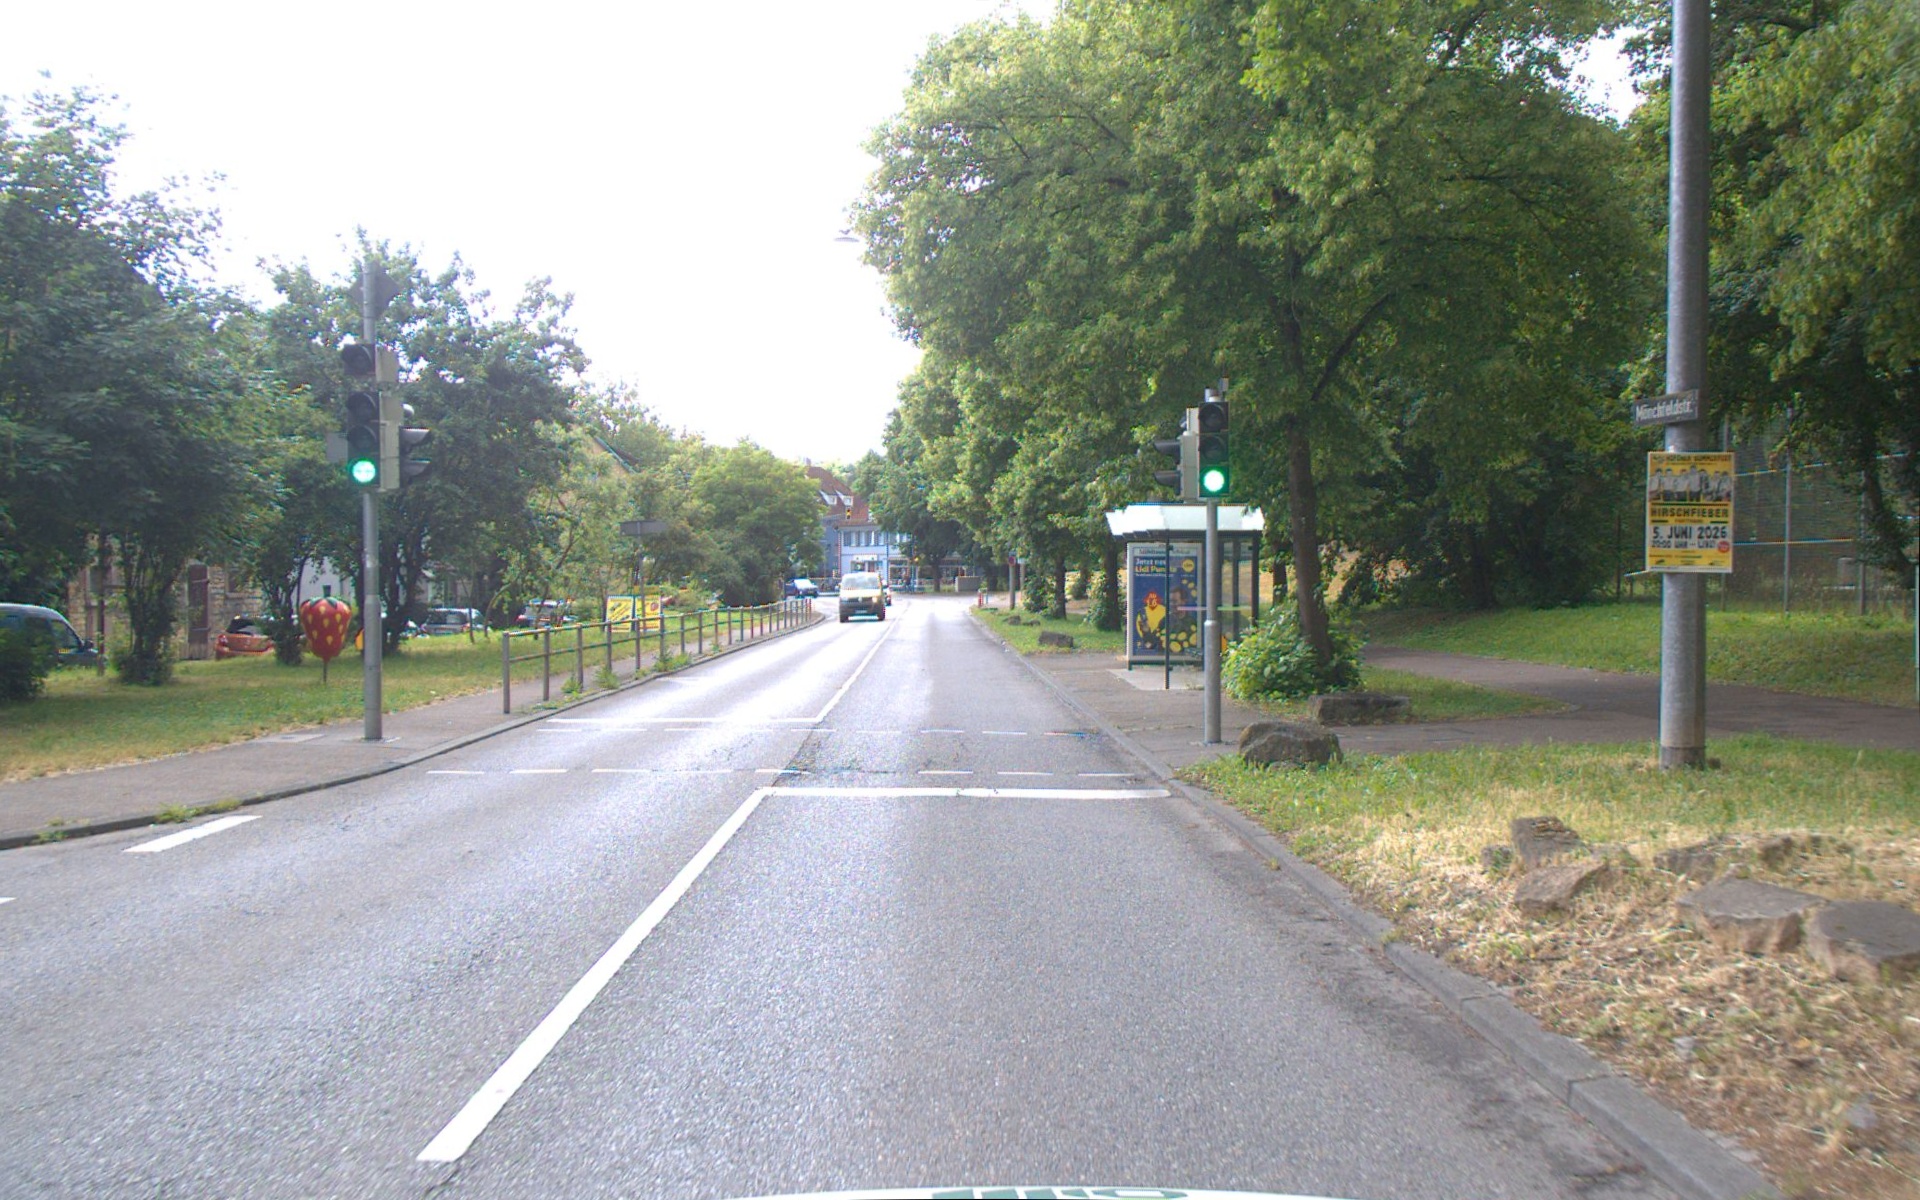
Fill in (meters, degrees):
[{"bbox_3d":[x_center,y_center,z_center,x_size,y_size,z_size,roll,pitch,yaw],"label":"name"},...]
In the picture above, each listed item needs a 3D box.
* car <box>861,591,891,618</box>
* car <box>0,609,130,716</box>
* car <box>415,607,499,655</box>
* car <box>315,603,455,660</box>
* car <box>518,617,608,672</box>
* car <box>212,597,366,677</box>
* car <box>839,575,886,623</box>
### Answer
[{"bbox_3d":[-5.229,0.267,103.756,1.670,1.538,3.999,-2,1,-1],"label":"car"},{"bbox_3d":[-16.077,1.035,28.131,1.774,1.646,4.001,-2,0,2],"label":"car"},{"bbox_3d":[-14.958,0.897,49.301,1.520,1.300,2.555,-2,0,5],"label":"car"},{"bbox_3d":[-14.909,0.794,43.111,1.951,1.299,4.003,-2,0,5],"label":"car"},{"bbox_3d":[-13.900,1.549,58.177,1.880,1.724,4.003,-2,0,5],"label":"car"},{"bbox_3d":[-15.310,0.796,37.965,1.774,1.646,4.001,-2,0,2],"label":"car"},{"bbox_3d":[-4.078,-0.066,69.869,1.808,1.964,4.768,0,0,-1],"label":"car"}]
